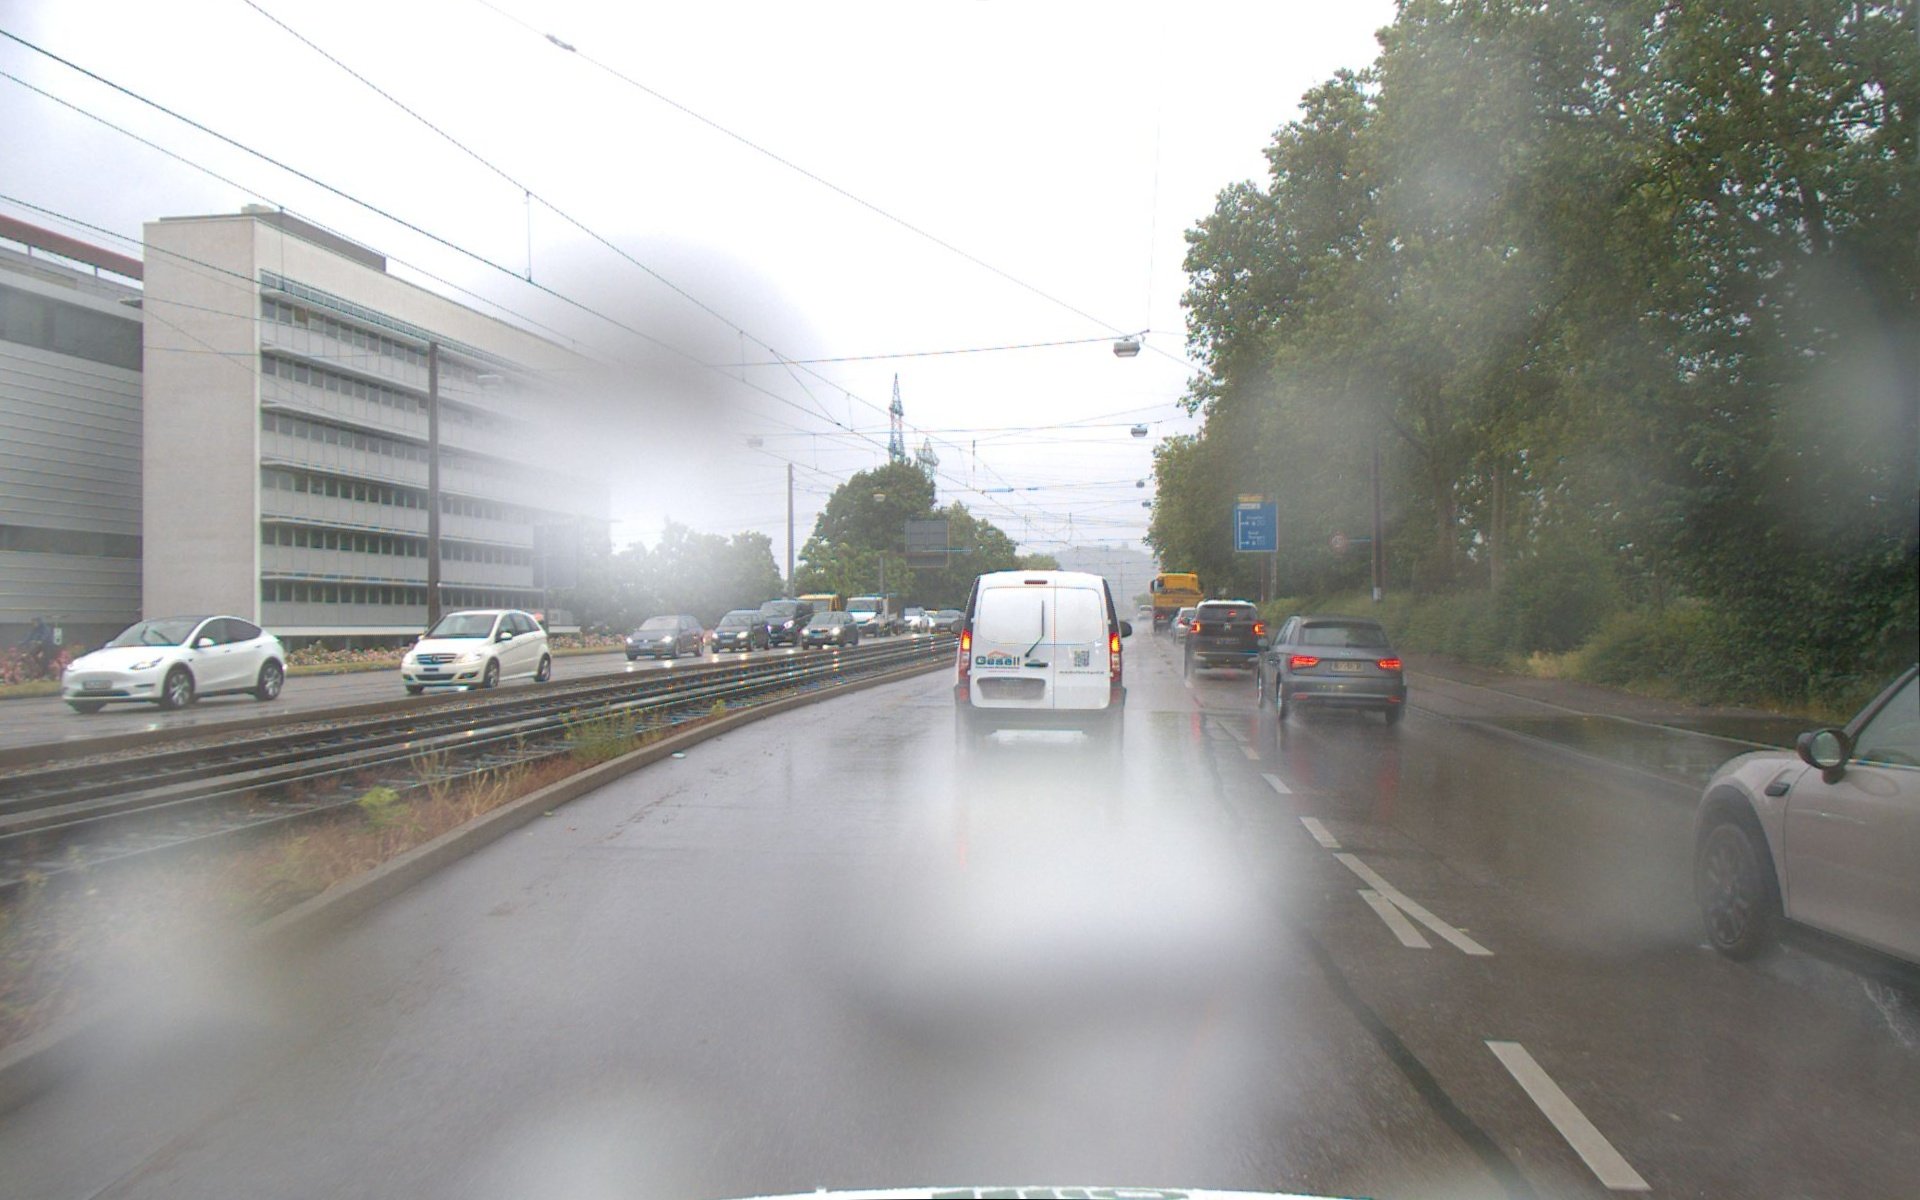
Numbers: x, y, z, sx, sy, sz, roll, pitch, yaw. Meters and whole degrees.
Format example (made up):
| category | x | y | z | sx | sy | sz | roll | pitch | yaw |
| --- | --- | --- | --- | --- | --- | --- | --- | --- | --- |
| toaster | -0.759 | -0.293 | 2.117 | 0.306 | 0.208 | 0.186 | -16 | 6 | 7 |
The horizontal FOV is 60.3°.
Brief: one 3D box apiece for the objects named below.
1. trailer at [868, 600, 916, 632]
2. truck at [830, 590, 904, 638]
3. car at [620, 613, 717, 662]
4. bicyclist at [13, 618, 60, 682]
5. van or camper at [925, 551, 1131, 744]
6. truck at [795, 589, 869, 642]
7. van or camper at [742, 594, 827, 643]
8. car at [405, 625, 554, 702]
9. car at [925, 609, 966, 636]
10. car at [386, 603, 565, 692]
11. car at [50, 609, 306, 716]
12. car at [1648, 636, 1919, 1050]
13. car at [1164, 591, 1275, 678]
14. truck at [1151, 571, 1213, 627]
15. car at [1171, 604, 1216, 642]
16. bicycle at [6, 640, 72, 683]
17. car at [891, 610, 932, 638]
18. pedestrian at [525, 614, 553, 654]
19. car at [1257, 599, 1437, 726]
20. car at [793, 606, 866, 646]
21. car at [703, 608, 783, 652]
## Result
| category | x | y | z | sx | sy | sz | roll | pitch | yaw |
| --- | --- | --- | --- | --- | --- | --- | --- | --- | --- |
| trailer | -4.025 | 0.961 | 98.901 | 2.074 | 1.824 | 3.839 | 1 | 0 | 10 |
| truck | -5.143 | 0.796 | 92.743 | 2.383 | 2.501 | 7.225 | 1 | 0 | 11 |
| car | -9.996 | 1.264 | 57.078 | 1.921 | 1.543 | 4.558 | -2 | -1 | 8 |
| bicyclist | -23.653 | 1.271 | 42.380 | 0.657 | 1.617 | 0.792 | 1 | 0 | 7 |
| van or camper | 0.819 | 0.420 | 17.874 | 1.951 | 1.816 | 4.003 | 1 | 1 | 5 |
| truck | -6.426 | 0.788 | 83.602 | 2.179 | 2.505 | 6.072 | 1 | 0 | 11 |
| van or camper | -7.682 | 0.809 | 73.142 | 2.255 | 2.049 | 5.690 | 1 | 0 | 9 |
| car | -12.435 | 1.598 | 43.120 | 1.951 | 1.866 | 4.696 | -1 | -1 | 8 |
| car | -0.862 | 1.379 | 100.877 | 1.818 | 1.520 | 4.693 | -2 | -1 | 7 |
| car | -9.852 | 0.914 | 33.978 | 1.833 | 1.601 | 4.332 | 1 | 1 | 9 |
| car | -14.017 | 1.054 | 30.014 | 1.867 | 1.634 | 4.846 | 2 | 1 | 6 |
| car | 4.234 | 0.867 | 6.078 | 1.755 | 1.439 | 3.853 | 0 | -1 | -1 |
| car | 5.554 | 0.693 | 35.948 | 1.860 | 1.747 | 4.727 | 0 | 0 | 2 |
| truck | 11.456 | -0.045 | 85.494 | 3.046 | 2.822 | 6.334 | 0 | 0 | 7 |
| car | 9.523 | 0.928 | 67.523 | 1.779 | 1.438 | 3.781 | 1 | 0 | 8 |
| bicycle | -23.647 | 1.574 | 42.491 | 0.654 | 1.033 | 1.557 | 2 | 0 | 7 |
| car | -3.096 | 1.548 | 106.819 | 1.733 | 1.712 | 4.693 | 1 | 0 | 10 |
| pedestrian | -19.582 | 1.574 | 76.928 | 0.805 | 1.793 | 1.051 | 2 | -1 | 10 |
| car | 5.256 | 0.786 | 22.939 | 1.926 | 1.555 | 3.994 | 1 | 0 | 6 |
| car | -5.252 | 1.055 | 67.217 | 1.951 | 1.482 | 4.675 | -3 | -1 | 8 |
| car | -8.636 | 1.192 | 66.227 | 1.818 | 1.646 | 4.911 | -2 | -1 | 9 |
